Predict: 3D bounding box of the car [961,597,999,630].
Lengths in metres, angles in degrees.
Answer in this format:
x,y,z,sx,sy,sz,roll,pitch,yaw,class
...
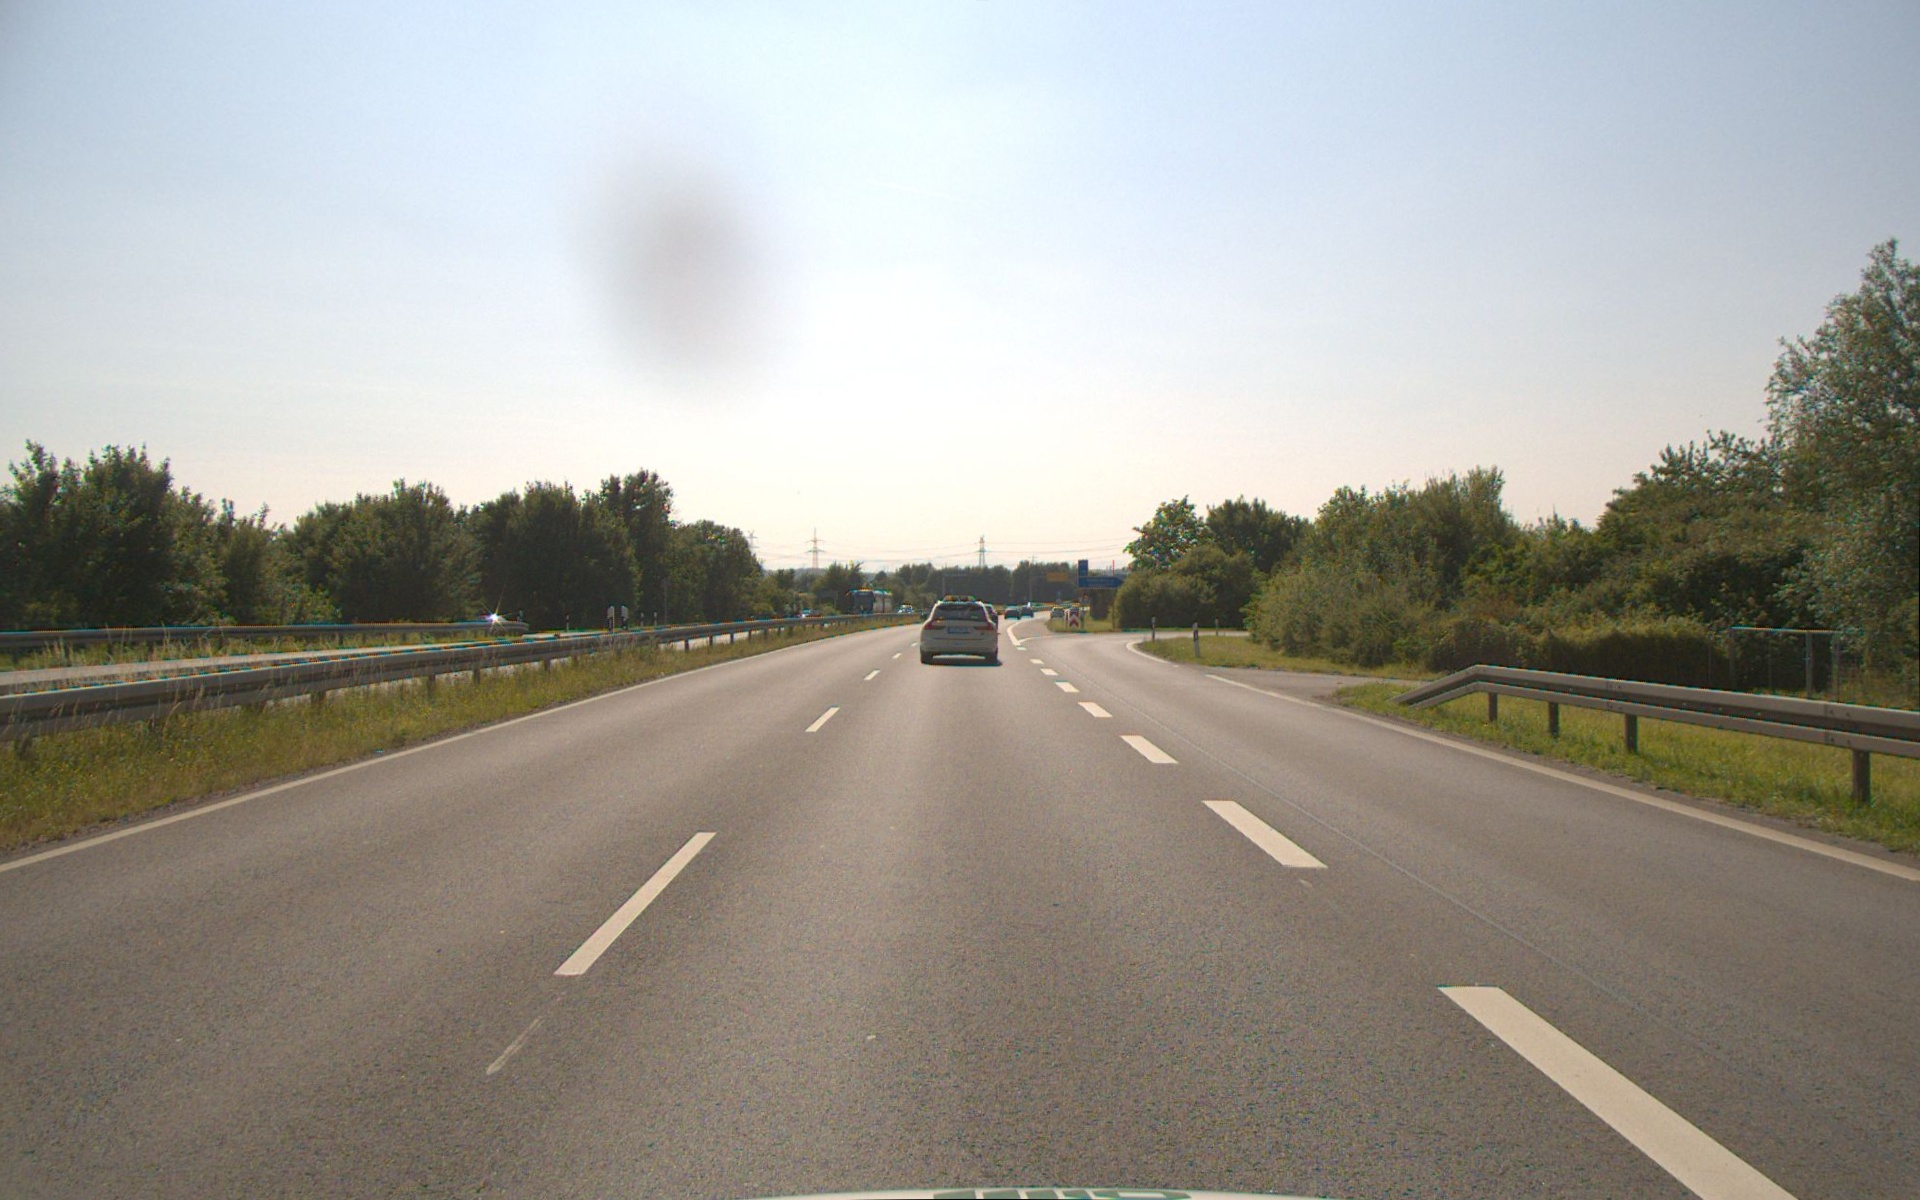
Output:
x,y,z,sx,sy,sz,roll,pitch,yaw,class
0.936,0.645,80.074,1.756,1.570,3.671,1,0,0,car

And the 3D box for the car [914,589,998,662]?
x,y,z,sx,sy,sz,roll,pitch,yaw,class
-0.067,0.578,40.353,1.918,1.629,4.108,1,1,1,car

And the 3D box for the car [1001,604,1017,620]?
x,y,z,sx,sy,sz,roll,pitch,yaw,class
5.701,1.421,193.008,1.803,1.834,4.001,1,0,3,car

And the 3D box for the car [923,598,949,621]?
x,y,z,sx,sy,sz,roll,pitch,yaw,class
-1.614,0.616,112.161,1.756,1.529,4.042,1,0,0,car

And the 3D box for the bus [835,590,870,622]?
x,y,z,sx,sy,sz,roll,pitch,yaw,class
-10.924,0.558,168.681,2.669,3.165,9.836,0,0,1,bus

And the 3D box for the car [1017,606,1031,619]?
x,y,z,sx,sy,sz,roll,pitch,yaw,class
8.531,1.623,220.852,1.803,1.728,4.000,1,0,1,car
